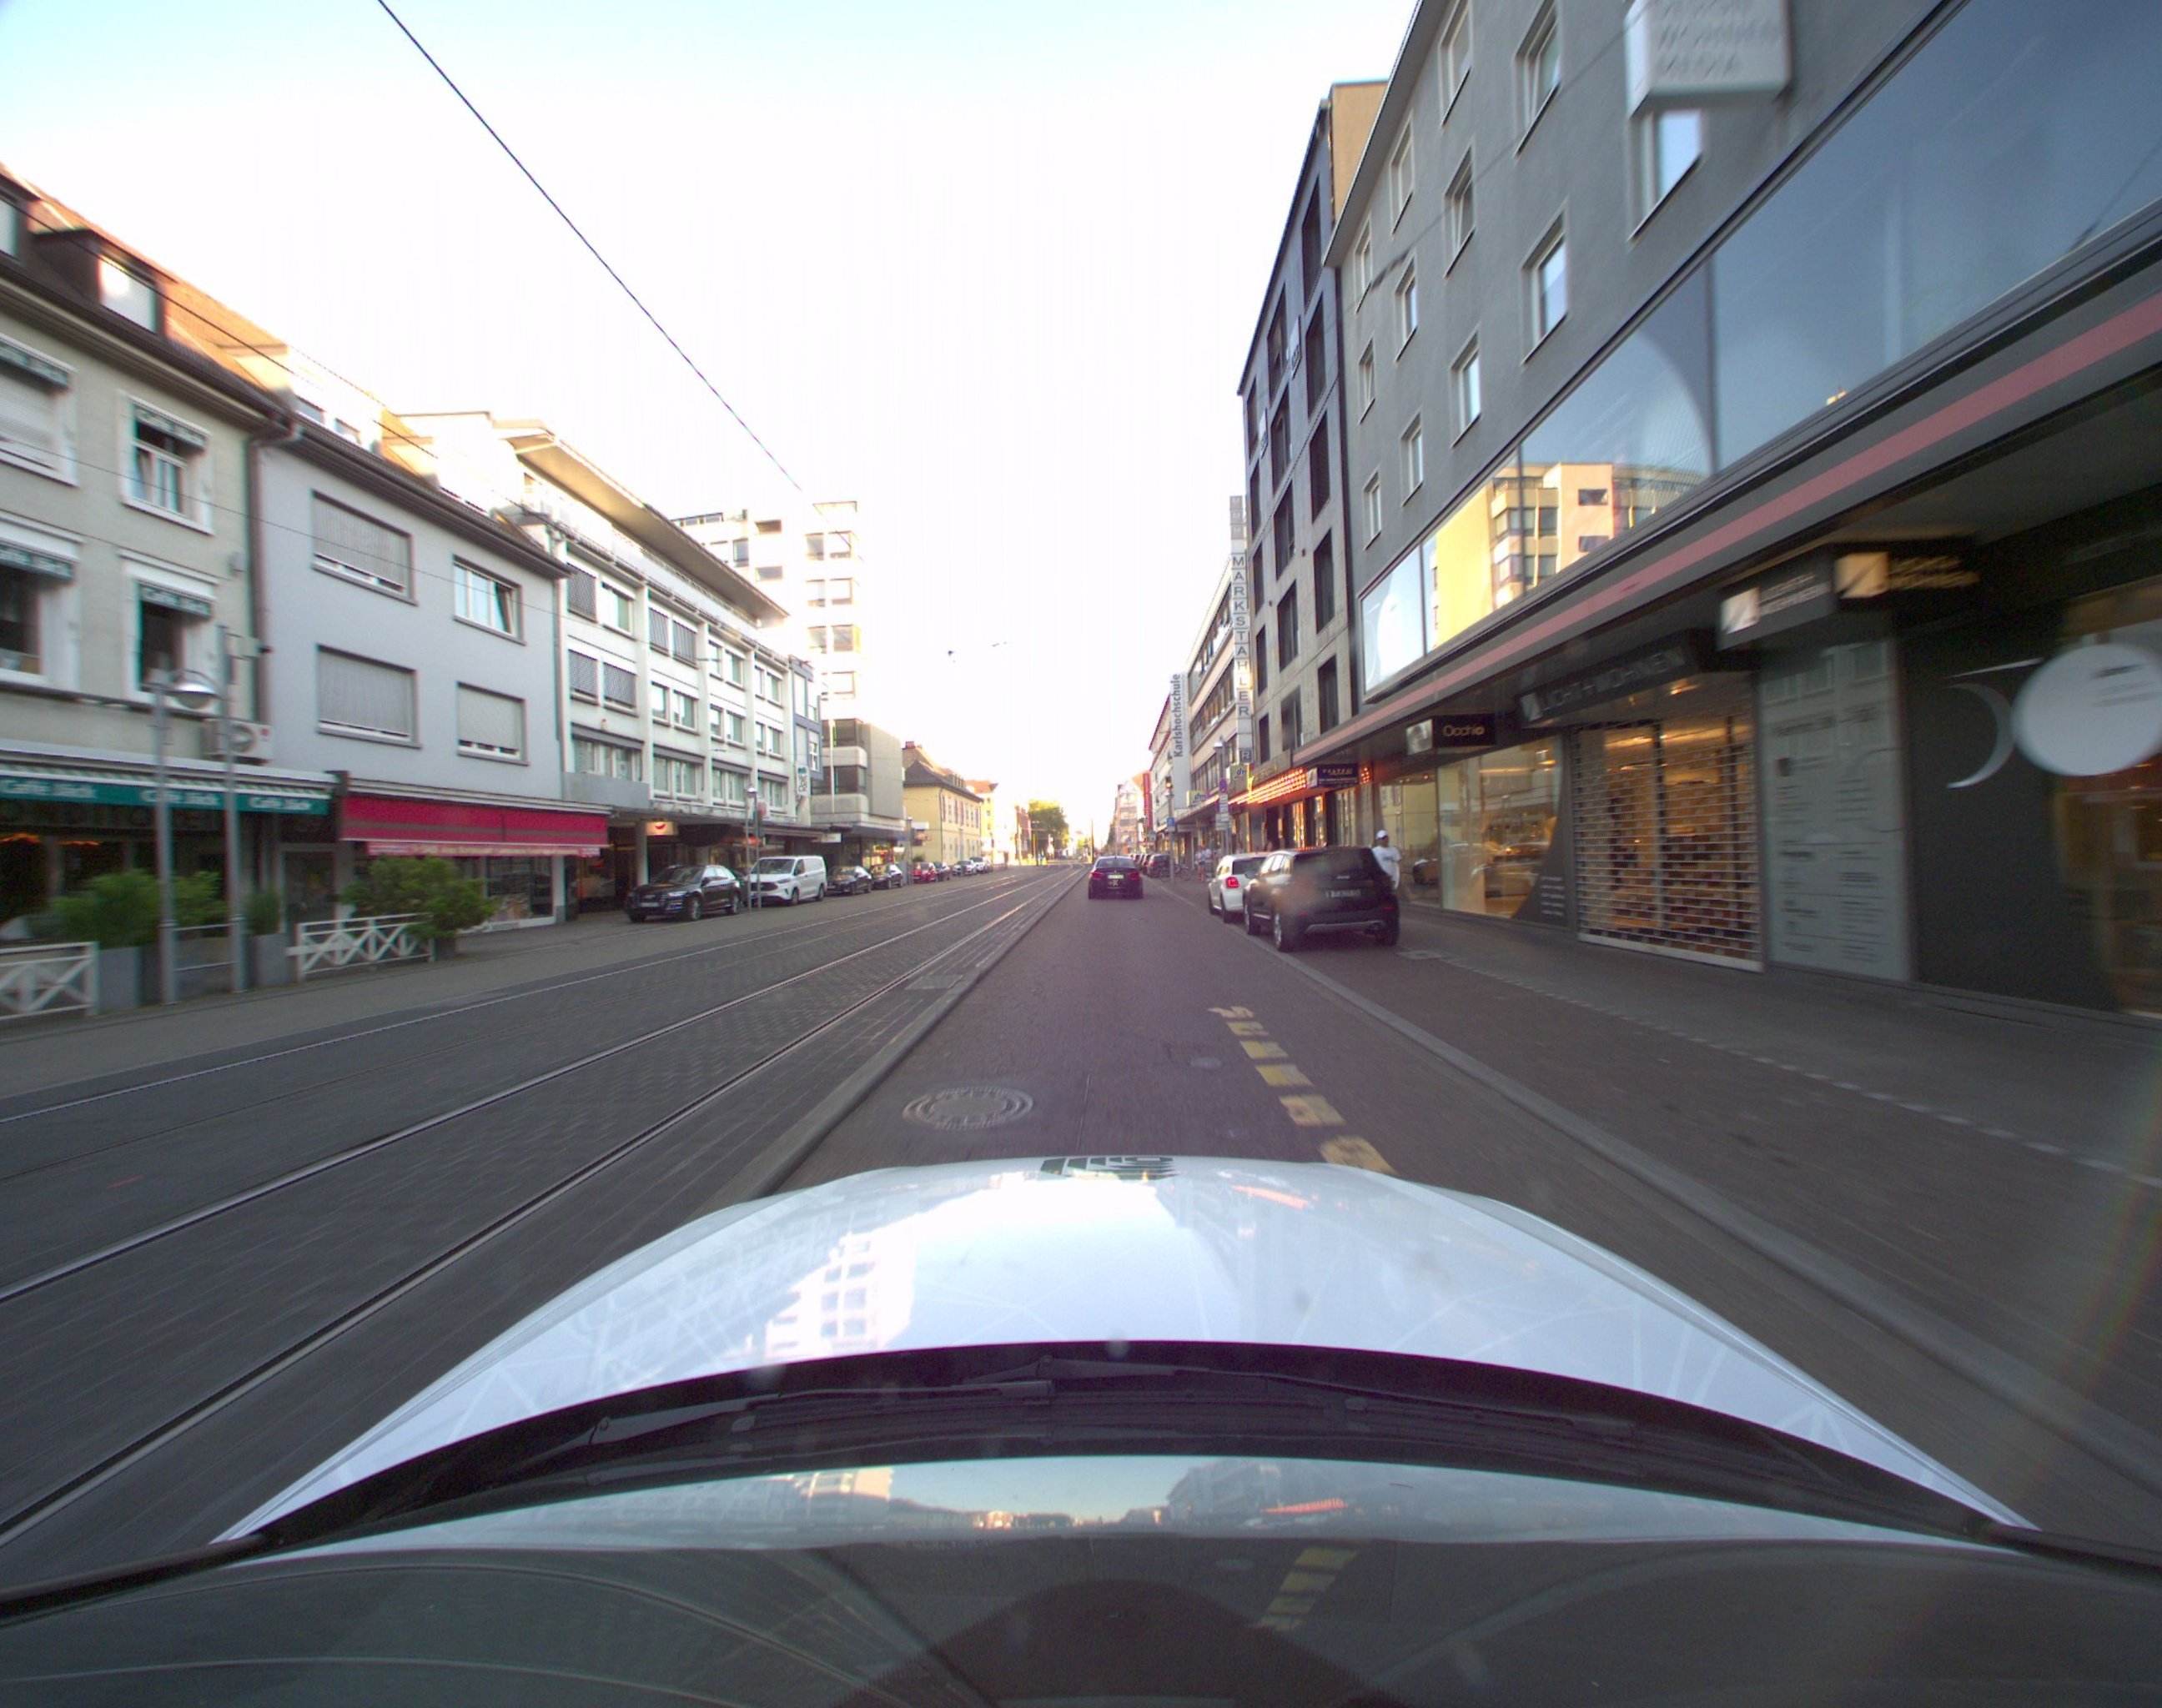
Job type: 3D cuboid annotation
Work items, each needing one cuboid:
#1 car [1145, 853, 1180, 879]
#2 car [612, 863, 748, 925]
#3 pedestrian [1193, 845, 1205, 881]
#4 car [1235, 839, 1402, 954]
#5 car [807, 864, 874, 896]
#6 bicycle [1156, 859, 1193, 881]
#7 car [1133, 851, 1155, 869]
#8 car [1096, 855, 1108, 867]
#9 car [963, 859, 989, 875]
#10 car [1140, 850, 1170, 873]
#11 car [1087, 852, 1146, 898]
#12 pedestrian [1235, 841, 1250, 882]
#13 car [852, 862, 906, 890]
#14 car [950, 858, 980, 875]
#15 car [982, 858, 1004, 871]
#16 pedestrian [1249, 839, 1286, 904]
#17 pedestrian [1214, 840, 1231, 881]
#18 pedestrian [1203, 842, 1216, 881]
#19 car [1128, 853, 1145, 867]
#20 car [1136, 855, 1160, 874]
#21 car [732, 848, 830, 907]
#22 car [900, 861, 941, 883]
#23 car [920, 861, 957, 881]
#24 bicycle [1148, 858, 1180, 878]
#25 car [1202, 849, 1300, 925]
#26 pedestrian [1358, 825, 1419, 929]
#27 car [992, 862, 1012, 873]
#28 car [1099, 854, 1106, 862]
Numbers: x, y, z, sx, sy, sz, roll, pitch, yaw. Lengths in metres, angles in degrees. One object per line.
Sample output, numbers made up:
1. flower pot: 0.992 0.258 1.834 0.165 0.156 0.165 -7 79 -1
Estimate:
1. car: 5.123 0.730 51.428 1.896 1.549 4.001 -1 -1 2
2. car: -12.274 1.155 25.310 1.853 1.678 4.466 -1 0 2
3. pedestrian: 5.604 0.425 38.666 0.473 1.699 0.753 -2 0 5
4. car: 3.728 0.604 13.461 1.648 1.537 3.887 -3 0 1
5. car: -11.839 1.258 40.444 1.921 1.435 4.248 -1 0 2
6. bicycle: 4.855 0.817 42.311 1.854 1.080 0.469 -2 -2 2
7. car: 5.571 0.561 72.872 1.768 1.549 3.504 -1 -1 2
8. car: 3.006 1.020 115.932 1.768 1.549 3.504 -1 -1 2
9. car: -10.490 1.279 81.895 1.921 1.435 4.248 -1 0 2
10. car: 5.264 0.570 58.307 1.896 1.549 3.781 -1 -1 2
11. car: 1.289 0.697 29.129 1.945 1.498 4.469 0 0 3
12. pedestrian: 7.212 0.321 36.385 0.506 1.792 0.760 -2 0 2
13. car: -11.644 1.244 47.208 1.921 1.435 4.248 -1 0 2
14. car: -10.736 1.167 75.731 1.921 1.435 4.248 -2 0 2
15. car: -10.349 1.248 96.019 1.921 1.435 4.248 -1 0 2
16. pedestrian: 4.879 0.450 21.353 0.558 1.647 0.755 -2 0 -20
17. pedestrian: 6.378 0.302 36.706 0.552 1.791 0.760 -2 0 1
18. pedestrian: 6.084 0.341 38.625 0.486 1.790 0.761 -2 0 5
19. car: 6.431 0.662 94.397 1.768 1.549 3.504 -1 -1 2
20. car: 5.568 0.871 67.534 1.768 1.549 3.504 -1 -1 2
21. car: -12.059 0.904 33.129 1.986 2.156 4.912 -2 0 1
22. car: -11.251 1.249 57.420 1.921 1.435 4.248 -1 0 2
23. car: -10.884 1.288 62.255 1.921 1.435 4.248 -1 0 2
24. bicycle: 4.902 0.828 48.118 1.854 1.119 0.469 -2 -2 2
25. car: 3.741 0.663 18.454 1.553 1.442 3.712 -4 0 3
26. pedestrian: 5.380 0.391 14.282 0.686 1.740 0.821 -4 0 3
27. car: -10.165 1.729 105.211 1.921 1.435 4.248 -1 0 2
28. car: 5.792 1.015 218.617 1.986 1.838 4.000 -1 -3 2
